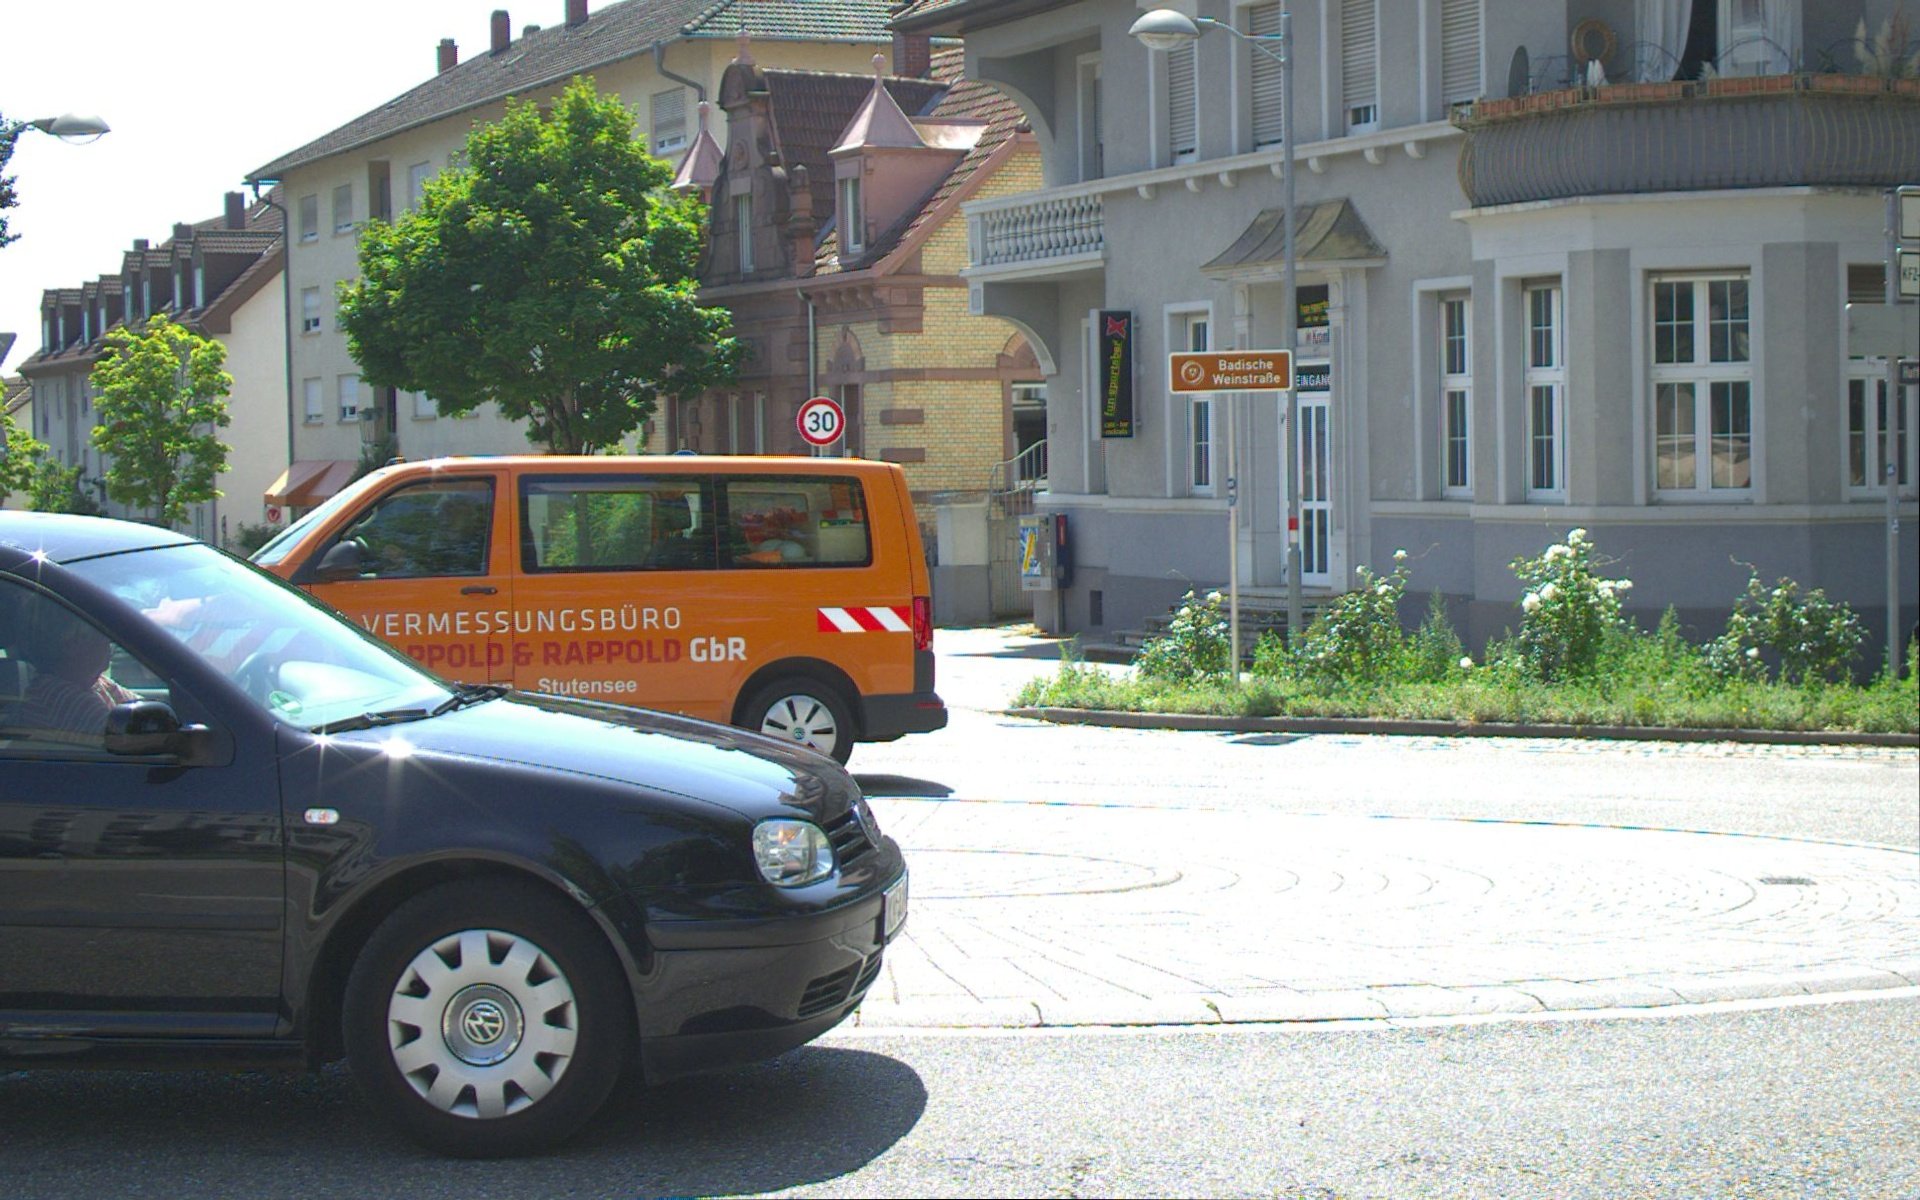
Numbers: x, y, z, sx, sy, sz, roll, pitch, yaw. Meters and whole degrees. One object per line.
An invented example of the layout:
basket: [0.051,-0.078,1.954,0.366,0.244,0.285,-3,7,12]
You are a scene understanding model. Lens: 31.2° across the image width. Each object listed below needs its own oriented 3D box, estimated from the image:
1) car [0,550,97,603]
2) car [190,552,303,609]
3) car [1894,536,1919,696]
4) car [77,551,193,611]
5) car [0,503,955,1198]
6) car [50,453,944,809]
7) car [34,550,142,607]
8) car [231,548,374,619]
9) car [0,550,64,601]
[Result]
car: [-26.451,-0.695,99.402,1.993,1.504,4.420,-1,1,-26]
car: [-19.583,-0.546,94.255,1.993,1.504,4.420,-1,1,-26]
car: [10.275,0.158,30.385,1.718,1.455,3.793,-1,1,-30]
car: [-21.424,-0.525,89.195,1.993,1.504,4.420,-1,1,-26]
car: [-2.131,0.541,8.340,4.045,1.442,1.716,-1,2,6]
car: [-2.746,0.115,20.314,5.003,1.952,1.951,-1,2,-13]
car: [-24.035,-0.616,94.656,1.993,1.504,4.420,-1,1,-26]
car: [-14.474,-0.383,75.508,1.993,1.504,4.420,-1,1,-26]
car: [-28.502,-0.764,103.698,1.993,1.504,4.420,-1,1,-26]
